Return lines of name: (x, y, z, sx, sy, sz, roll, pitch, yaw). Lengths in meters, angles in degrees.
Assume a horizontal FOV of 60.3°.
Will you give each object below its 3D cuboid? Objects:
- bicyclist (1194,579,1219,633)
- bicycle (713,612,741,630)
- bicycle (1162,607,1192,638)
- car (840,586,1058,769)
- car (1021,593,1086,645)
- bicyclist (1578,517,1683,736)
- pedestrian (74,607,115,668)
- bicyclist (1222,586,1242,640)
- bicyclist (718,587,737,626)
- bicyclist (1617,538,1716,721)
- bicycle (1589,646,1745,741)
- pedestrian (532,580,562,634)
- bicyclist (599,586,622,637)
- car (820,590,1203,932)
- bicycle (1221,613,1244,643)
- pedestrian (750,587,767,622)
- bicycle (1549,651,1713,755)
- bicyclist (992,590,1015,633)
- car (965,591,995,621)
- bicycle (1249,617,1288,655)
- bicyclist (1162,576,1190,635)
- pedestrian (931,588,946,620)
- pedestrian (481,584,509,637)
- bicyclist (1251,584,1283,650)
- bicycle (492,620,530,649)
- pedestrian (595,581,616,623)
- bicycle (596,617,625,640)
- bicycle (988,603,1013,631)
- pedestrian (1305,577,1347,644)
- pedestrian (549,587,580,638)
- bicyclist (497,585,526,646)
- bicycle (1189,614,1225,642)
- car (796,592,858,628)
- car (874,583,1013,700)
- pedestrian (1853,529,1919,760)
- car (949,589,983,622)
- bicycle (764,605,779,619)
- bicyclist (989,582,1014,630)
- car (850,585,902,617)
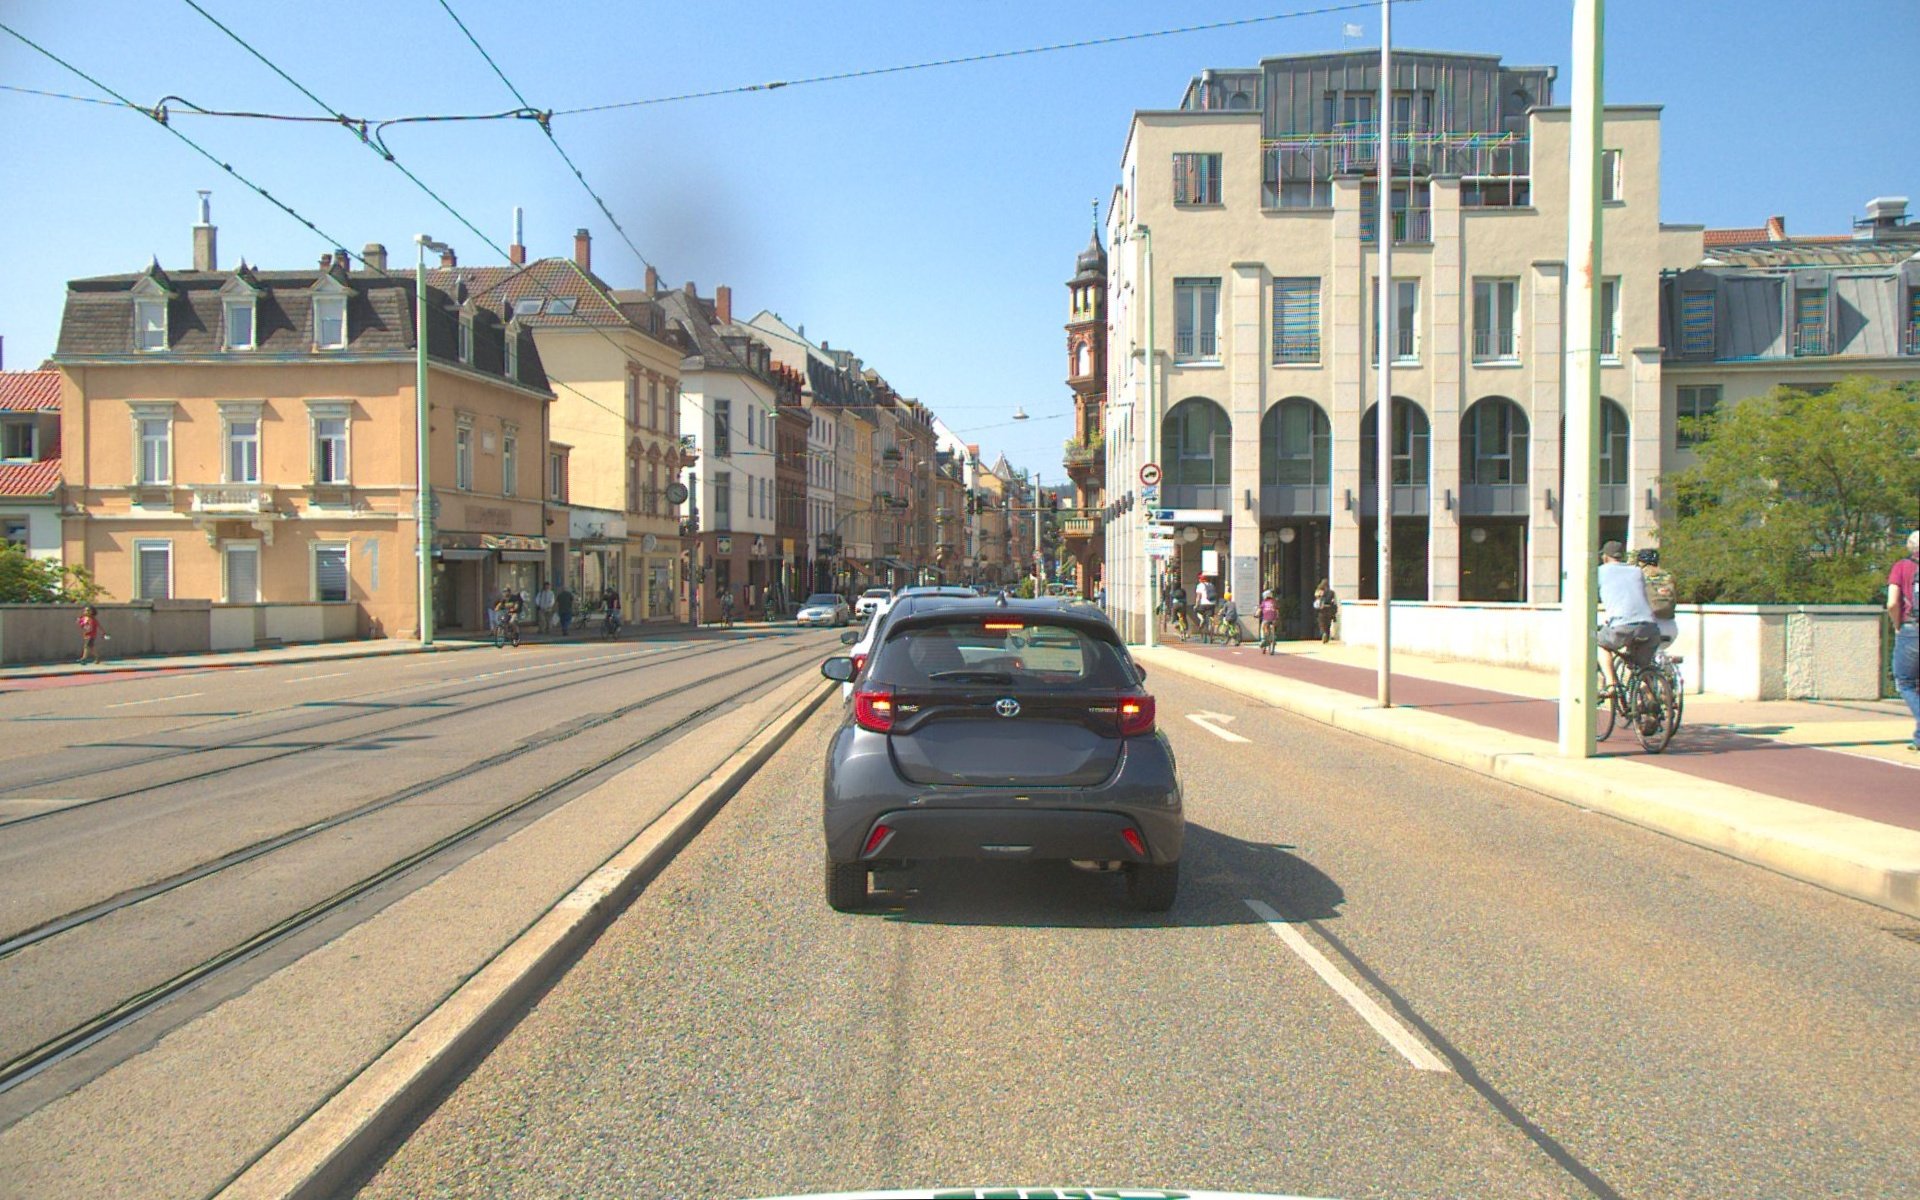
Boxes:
bicyclist: (6.877, 0.164, 46.171, 0.480, 1.492, 0.437, -2, 0, -40)
bicycle: (-10.062, 0.903, 71.471, 0.607, 0.728, 2.047, 2, 1, 8)
bicycle: (6.543, 0.670, 49.941, 0.689, 0.898, 1.525, -1, 0, 0)
car: (-0.140, 0.664, 16.357, 1.859, 1.557, 3.999, 1, 0, -1)
car: (2.874, 0.562, 51.744, 1.671, 1.491, 4.325, 1, 0, -1)
bicyclist: (5.845, 0.227, 14.441, 0.575, 1.852, 0.701, -1, 0, -3)
pedestrian: (-17.125, 0.745, 32.729, 0.403, 1.166, 0.545, 4, 0, 7)
bicyclist: (7.282, 0.345, 44.260, 0.413, 1.407, 0.443, -2, 0, -1)
bicyclist: (-10.041, 0.277, 71.530, 0.614, 1.679, 0.622, 2, 1, 8)
bicyclist: (6.655, 0.270, 15.601, 0.575, 1.679, 0.701, -1, 0, -3)
bicycle: (6.668, 0.860, 15.700, 0.582, 0.779, 1.865, -1, 0, -3)
pedestrian: (-14.203, 0.229, 56.919, 0.721, 1.796, 0.787, 4, 0, -1)
bicyclist: (-11.811, 0.394, 55.929, 0.614, 1.679, 0.622, 2, 1, -1)
car: (0.192, 0.713, 9.222, 1.685, 1.499, 3.657, 1, 0, -1)
bicycle: (7.292, 0.747, 44.284, 0.408, 0.779, 0.961, -2, 0, -1)
pedestrian: (-10.485, 0.238, 86.099, 0.721, 1.797, 0.787, -2, 0, -1)
bicycle: (5.853, 0.873, 14.540, 0.582, 0.779, 1.865, -1, 0, -3)
bicyclist: (2.644, 0.699, 100.735, 1.202, 2.572, 1.105, 4, 0, 4)
car: (1.521, 0.471, 122.994, 1.952, 2.048, 4.002, 4, 0, 3)
bicycle: (6.702, 0.772, 35.966, 0.503, 0.779, 1.660, -2, 0, -1)
bicyclist: (6.531, 0.162, 49.945, 0.687, 1.725, 0.924, -1, 0, -1)
pedestrian: (-1.776, 0.331, 137.008, 1.029, 2.633, 1.501, 4, 0, -1)
pedestrian: (-14.799, 0.329, 52.619, 0.636, 1.629, 0.566, 4, 2, -1)
bicyclist: (6.694, 0.370, 36.052, 0.523, 1.407, 0.669, -2, 0, -1)
bicycle: (-12.720, 0.971, 46.874, 0.608, 0.728, 1.771, 2, 1, -1)
pedestrian: (-14.213, 0.088, 66.274, 0.636, 1.629, 0.566, 4, 2, -1)
bicycle: (-11.820, 0.958, 55.999, 0.608, 0.728, 1.731, 2, 1, -1)
bicycle: (2.271, 0.960, 92.662, 1.090, 1.444, 3.005, 3, 0, -4)
pedestrian: (9.428, 0.271, 42.653, 0.724, 1.642, 1.015, 4, 0, -2)
pedestrian: (-13.392, 0.414, 56.026, 0.747, 1.682, 0.711, 4, 0, 0)
bicyclist: (-12.705, 0.432, 46.839, 0.614, 1.679, 0.622, 2, 1, -1)
bicycle: (6.881, 0.785, 46.182, 0.414, 0.779, 0.948, -2, 0, -39)
car: (-5.690, 0.426, 71.176, 1.694, 1.486, 4.377, 0, 0, 9)
car: (-0.272, 0.554, 24.511, 1.859, 1.557, 3.999, 1, 0, -1)
pedestrian: (7.959, 0.338, 13.509, 0.724, 1.833, 1.015, -2, 0, -2)
car: (0.397, 0.397, 106.510, 1.952, 2.049, 4.001, 1, -1, 3)
bicycle: (-9.822, 0.608, 86.093, 0.608, 0.728, 1.770, 1, 0, -1)
bicyclist: (2.318, 0.333, 92.991, 1.203, 2.572, 1.104, 4, 0, -2)
car: (-4.332, 0.066, 86.138, 1.951, 1.614, 4.656, 0, 0, 7)
